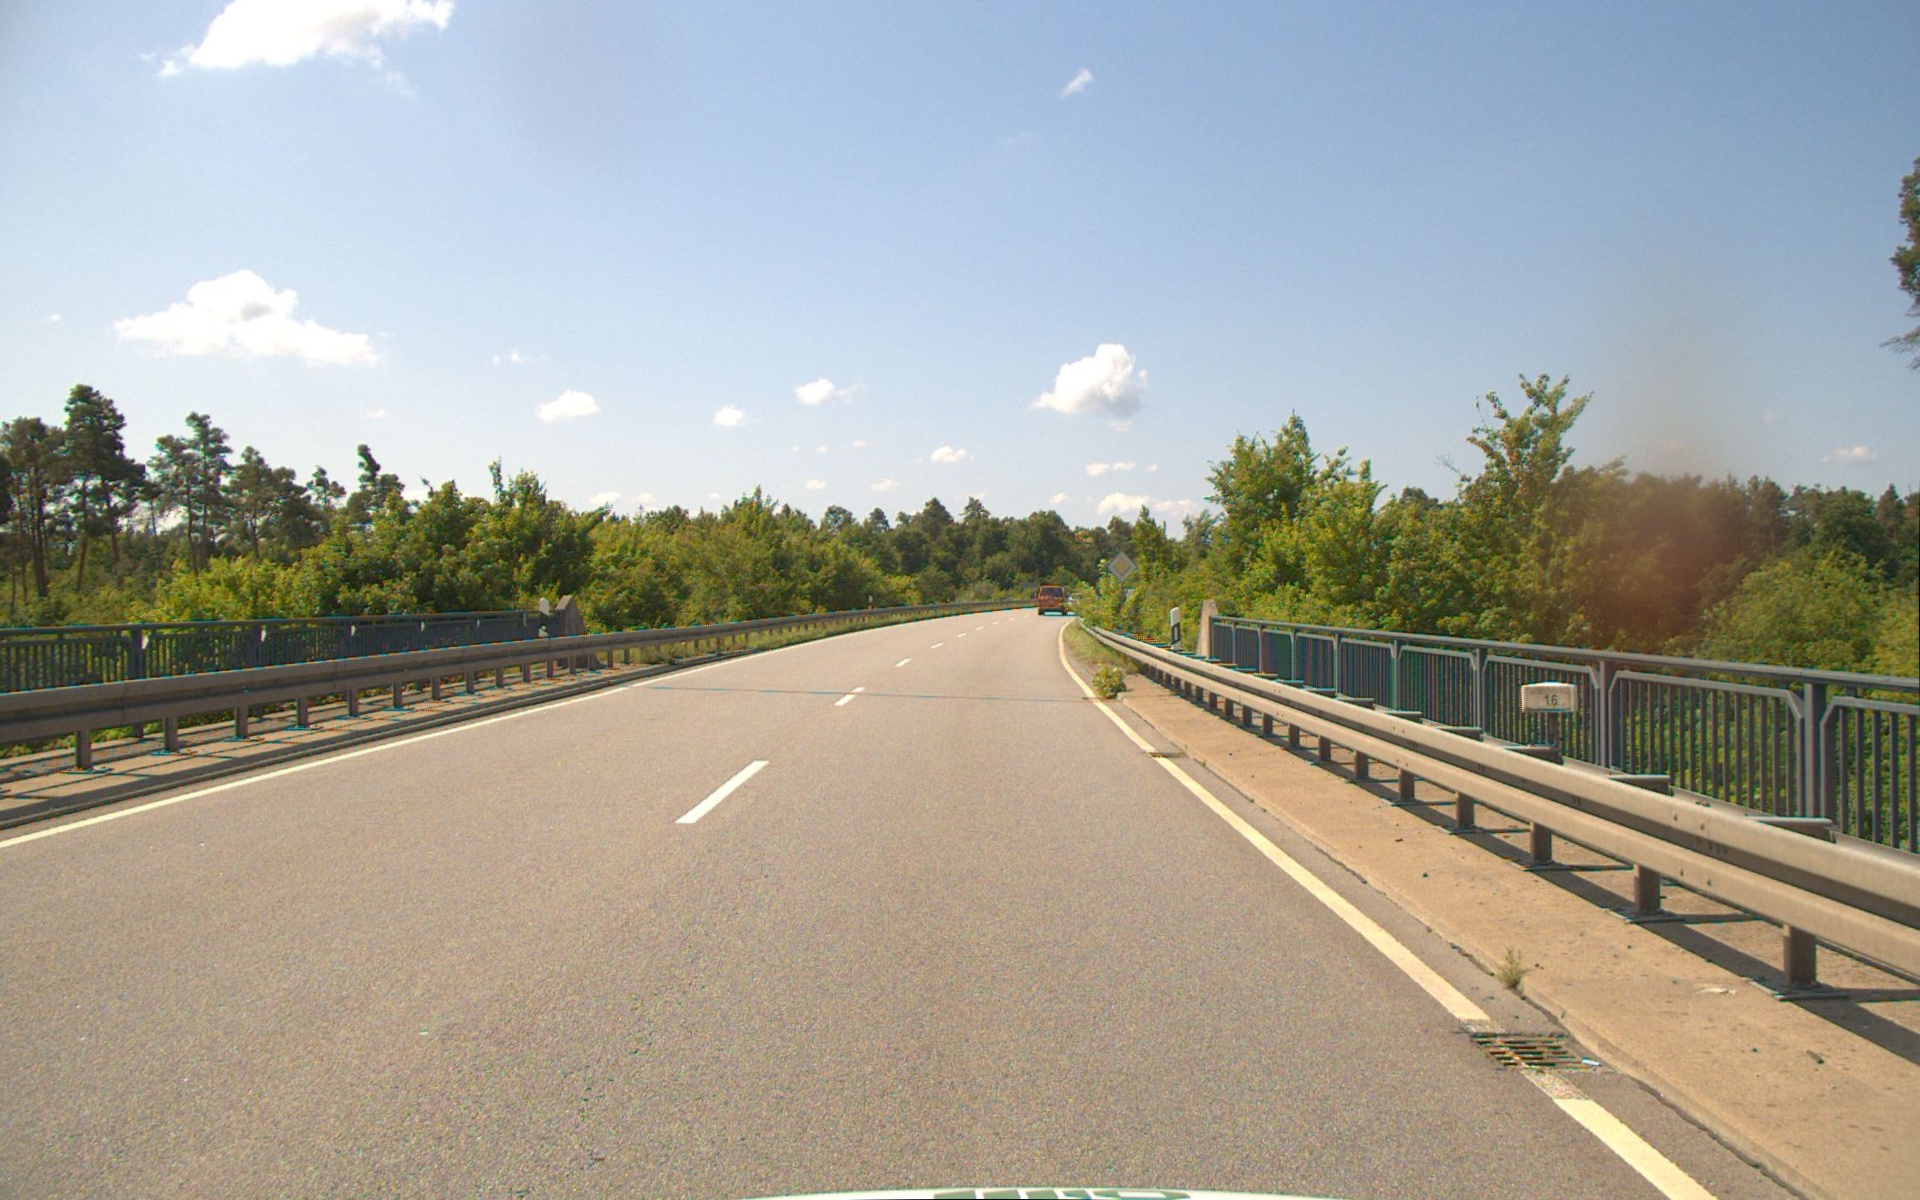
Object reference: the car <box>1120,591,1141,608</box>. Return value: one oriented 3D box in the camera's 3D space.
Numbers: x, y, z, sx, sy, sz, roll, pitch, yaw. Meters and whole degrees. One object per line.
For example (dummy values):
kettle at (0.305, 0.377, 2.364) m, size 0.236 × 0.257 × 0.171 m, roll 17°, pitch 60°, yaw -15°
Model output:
car at (20.105, -0.085, 195.062) m, size 2.139 × 1.989 × 5.806 m, roll 2°, pitch 0°, yaw 3°

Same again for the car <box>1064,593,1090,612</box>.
car at (9.630, 0.234, 136.050) m, size 1.965 × 1.520 × 4.239 m, roll 1°, pitch 0°, yaw 2°

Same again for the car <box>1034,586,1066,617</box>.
car at (6.169, 0.091, 113.959) m, size 2.034 × 2.028 × 5.112 m, roll 1°, pitch 0°, yaw 2°
